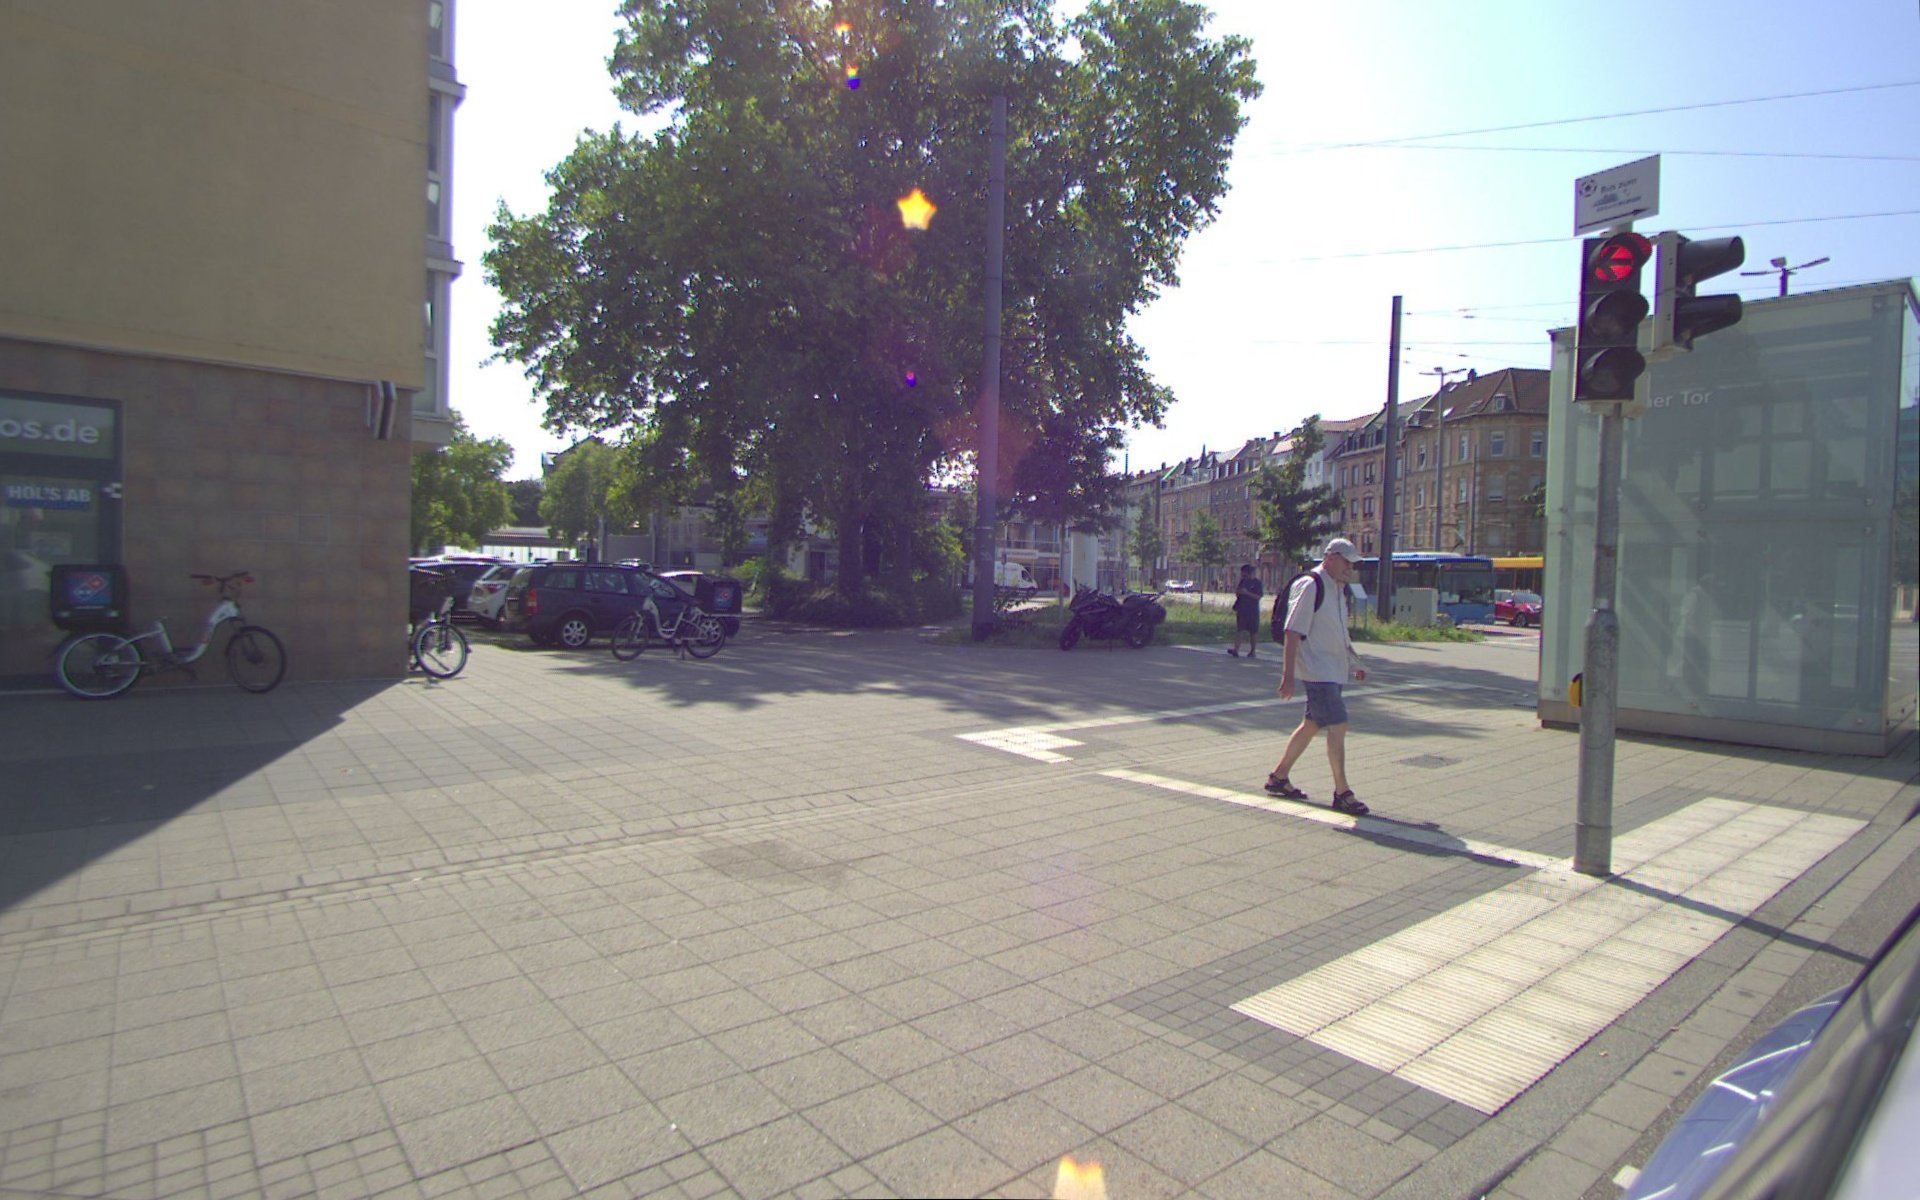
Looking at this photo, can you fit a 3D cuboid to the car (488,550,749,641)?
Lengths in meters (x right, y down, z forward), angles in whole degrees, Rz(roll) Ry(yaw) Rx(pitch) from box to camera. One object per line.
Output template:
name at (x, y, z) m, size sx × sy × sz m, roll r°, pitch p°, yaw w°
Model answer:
car at (-6.204, -0.067, 18.645) m, size 4.173 × 1.489 × 1.903 m, roll 1°, pitch 0°, yaw -42°

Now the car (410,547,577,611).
car at (-13.361, -0.593, 29.125) m, size 4.004 × 1.686 × 1.788 m, roll 0°, pitch 2°, yaw -43°

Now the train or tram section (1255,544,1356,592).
train or tram section at (28.179, -2.663, 83.419) m, size 2.542 × 3.604 × 12.239 m, roll 2°, pitch 2°, yaw -8°

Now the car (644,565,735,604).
car at (-11.046, -0.623, 41.407) m, size 3.232 × 1.479 × 1.614 m, roll 0°, pitch 2°, yaw -39°

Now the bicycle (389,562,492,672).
bicycle at (-6.311, 0.168, 12.248) m, size 1.722 × 1.221 × 0.580 m, roll 3°, pitch 2°, yaw 44°

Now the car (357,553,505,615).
car at (-13.286, -0.409, 25.503) m, size 3.046 × 1.446 × 1.401 m, roll 0°, pitch 2°, yaw -43°

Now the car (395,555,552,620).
car at (-11.490, -0.301, 23.990) m, size 3.046 × 1.403 × 1.500 m, roll 0°, pitch 2°, yaw -43°

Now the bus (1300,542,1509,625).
bus at (19.087, -0.819, 44.819) m, size 2.679 × 3.102 × 12.100 m, roll 2°, pitch 2°, yaw -6°

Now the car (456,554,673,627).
car at (-8.896, -0.222, 22.963) m, size 4.174 × 1.488 × 1.903 m, roll 0°, pitch 2°, yaw -43°

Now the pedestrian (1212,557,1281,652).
pedestrian at (5.128, 0.059, 18.114) m, size 0.934 × 1.628 × 0.792 m, roll -1°, pitch 3°, yaw -43°

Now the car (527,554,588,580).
car at (-25.668, -2.109, 64.596) m, size 3.469 × 1.507 × 1.618 m, roll 1°, pitch 2°, yaw -28°

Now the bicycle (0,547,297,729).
bicycle at (-7.726, 0.272, 9.164) m, size 3.315 × 1.422 × 0.900 m, roll 2°, pitch 2°, yaw 15°

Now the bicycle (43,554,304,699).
bicycle at (-7.550, 0.223, 9.789) m, size 1.926 × 1.262 × 0.729 m, roll 0°, pitch 2°, yaw -41°

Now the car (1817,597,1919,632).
car at (40.461, 0.604, 44.945) m, size 1.486 × 1.355 × 3.515 m, roll 0°, pitch 2°, yaw -11°

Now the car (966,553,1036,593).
car at (3.002, -1.945, 73.219) m, size 5.123 × 2.617 × 1.846 m, roll 3°, pitch 0°, yaw -40°

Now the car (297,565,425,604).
car at (-23.233, -0.594, 39.307) m, size 4.004 × 1.414 × 1.788 m, roll 0°, pitch 2°, yaw -43°

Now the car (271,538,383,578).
car at (-28.328, -1.872, 45.349) m, size 4.004 × 1.686 × 1.788 m, roll 0°, pitch 2°, yaw -43°

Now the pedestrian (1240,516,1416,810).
pedestrian at (2.494, 0.387, 6.871) m, size 0.800 × 1.830 × 0.820 m, roll 0°, pitch 0°, yaw -39°

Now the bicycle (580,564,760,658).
bicycle at (-4.188, 0.135, 14.745) m, size 2.392 × 1.254 × 0.794 m, roll 0°, pitch 2°, yaw -40°

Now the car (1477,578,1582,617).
car at (24.405, -0.129, 43.492) m, size 1.595 × 1.490 × 3.781 m, roll 1°, pitch 2°, yaw -19°

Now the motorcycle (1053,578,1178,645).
motorcycle at (2.819, 0.198, 18.312) m, size 2.069 × 1.151 × 0.914 m, roll 1°, pitch 2°, yaw -27°

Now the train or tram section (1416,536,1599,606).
train or tram section at (31.475, -1.733, 59.180) m, size 2.542 × 3.604 × 12.239 m, roll 2°, pitch 2°, yaw -8°
